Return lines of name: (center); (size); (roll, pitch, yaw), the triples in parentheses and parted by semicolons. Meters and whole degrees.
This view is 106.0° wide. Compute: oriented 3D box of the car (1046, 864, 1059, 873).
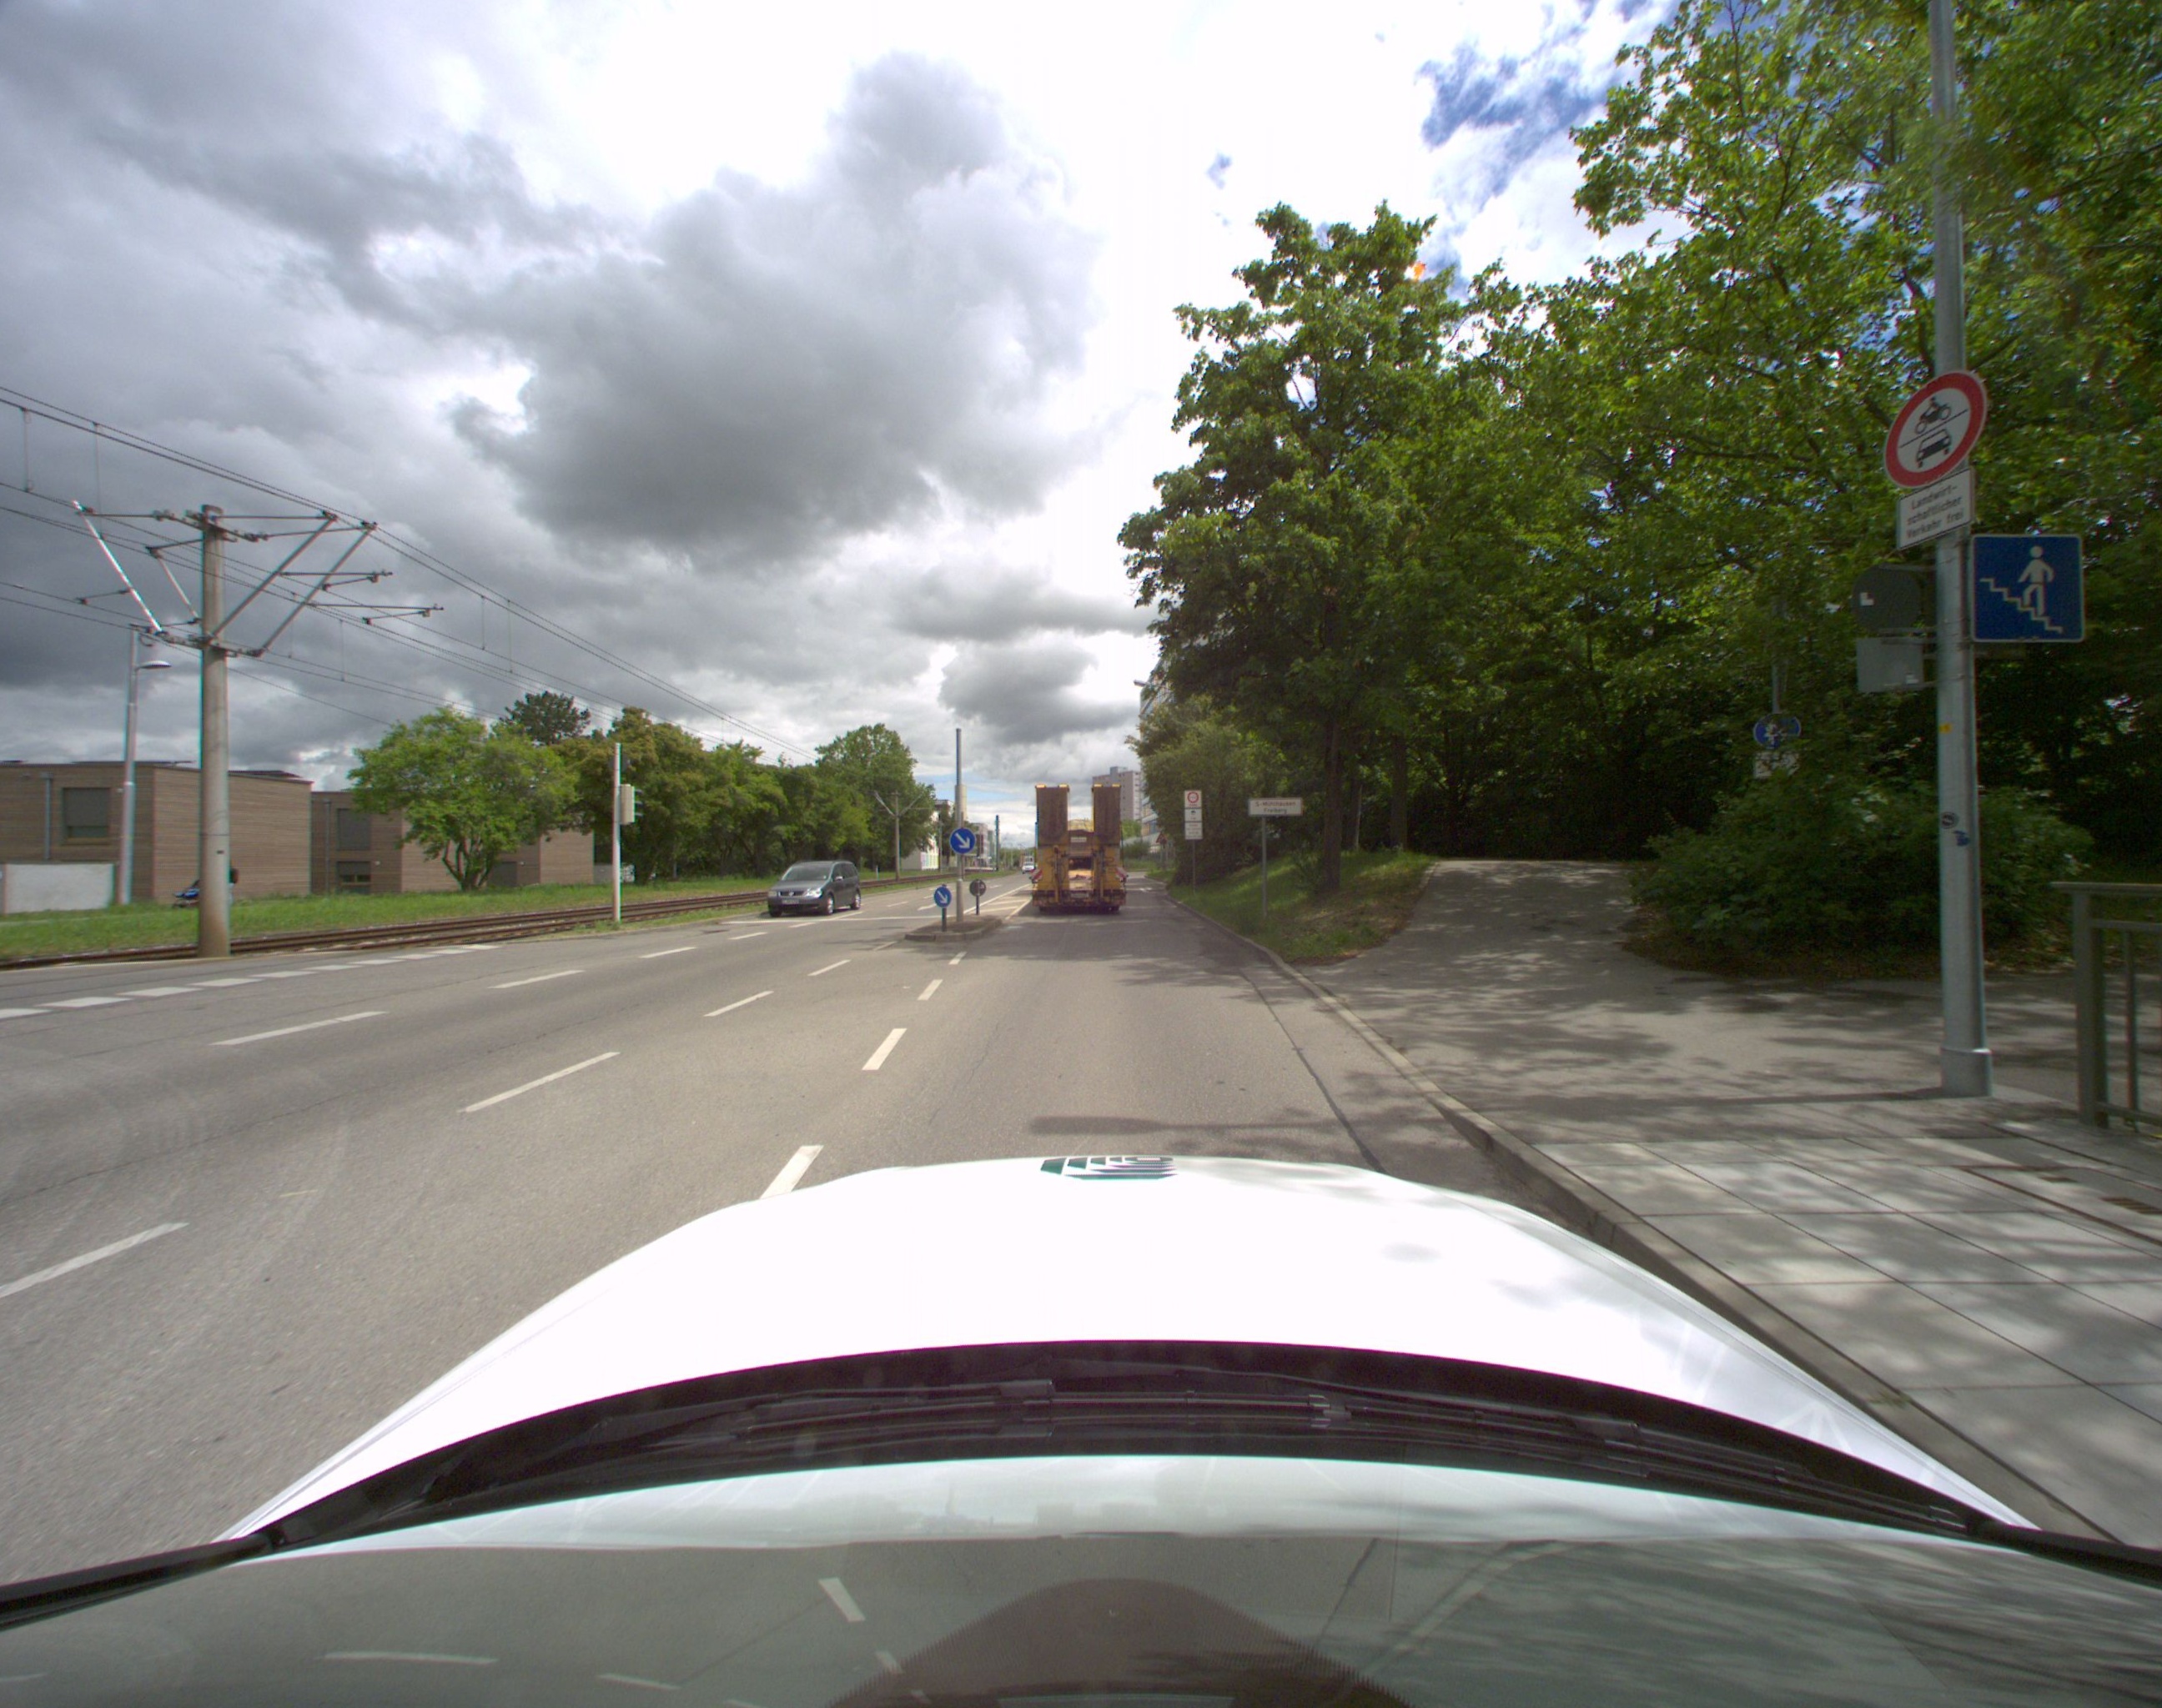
car: (-4.319, 2.221, 122.795); (1.778, 1.271, 4.345); (-1, -1, 1)

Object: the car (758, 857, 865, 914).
car: (-8.154, 0.907, 25.073); (1.778, 1.570, 4.345); (-1, -1, 1)

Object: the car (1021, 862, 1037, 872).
car: (-6.882, 1.695, 108.686); (1.778, 1.271, 4.345); (-1, -1, 1)

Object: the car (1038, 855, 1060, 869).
car: (-3.287, 0.823, 83.871); (1.986, 1.420, 4.001); (1, 0, 2)

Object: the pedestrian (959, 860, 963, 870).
pedestrian: (-24.171, 2.234, 163.841); (0.649, 2.014, 0.654); (1, -1, 6)

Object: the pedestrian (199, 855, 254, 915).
pedestrian: (-26.594, 0.945, 25.352); (0.797, 1.811, 0.810); (1, -1, 5)

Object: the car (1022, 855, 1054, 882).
car: (-3.181, 1.073, 60.747); (1.986, 1.926, 4.001); (1, 0, 2)

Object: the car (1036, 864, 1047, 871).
car: (-7.232, 2.471, 147.967); (1.778, 1.271, 4.343); (-1, -1, -1)

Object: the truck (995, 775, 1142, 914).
truck: (0.107, -0.218, 27.926); (3.298, 3.651, 12.585); (1, 0, 7)

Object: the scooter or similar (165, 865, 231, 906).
scooter or similar: (-26.667, 0.950, 24.613); (0.886, 1.184, 0.973); (1, -1, 4)
